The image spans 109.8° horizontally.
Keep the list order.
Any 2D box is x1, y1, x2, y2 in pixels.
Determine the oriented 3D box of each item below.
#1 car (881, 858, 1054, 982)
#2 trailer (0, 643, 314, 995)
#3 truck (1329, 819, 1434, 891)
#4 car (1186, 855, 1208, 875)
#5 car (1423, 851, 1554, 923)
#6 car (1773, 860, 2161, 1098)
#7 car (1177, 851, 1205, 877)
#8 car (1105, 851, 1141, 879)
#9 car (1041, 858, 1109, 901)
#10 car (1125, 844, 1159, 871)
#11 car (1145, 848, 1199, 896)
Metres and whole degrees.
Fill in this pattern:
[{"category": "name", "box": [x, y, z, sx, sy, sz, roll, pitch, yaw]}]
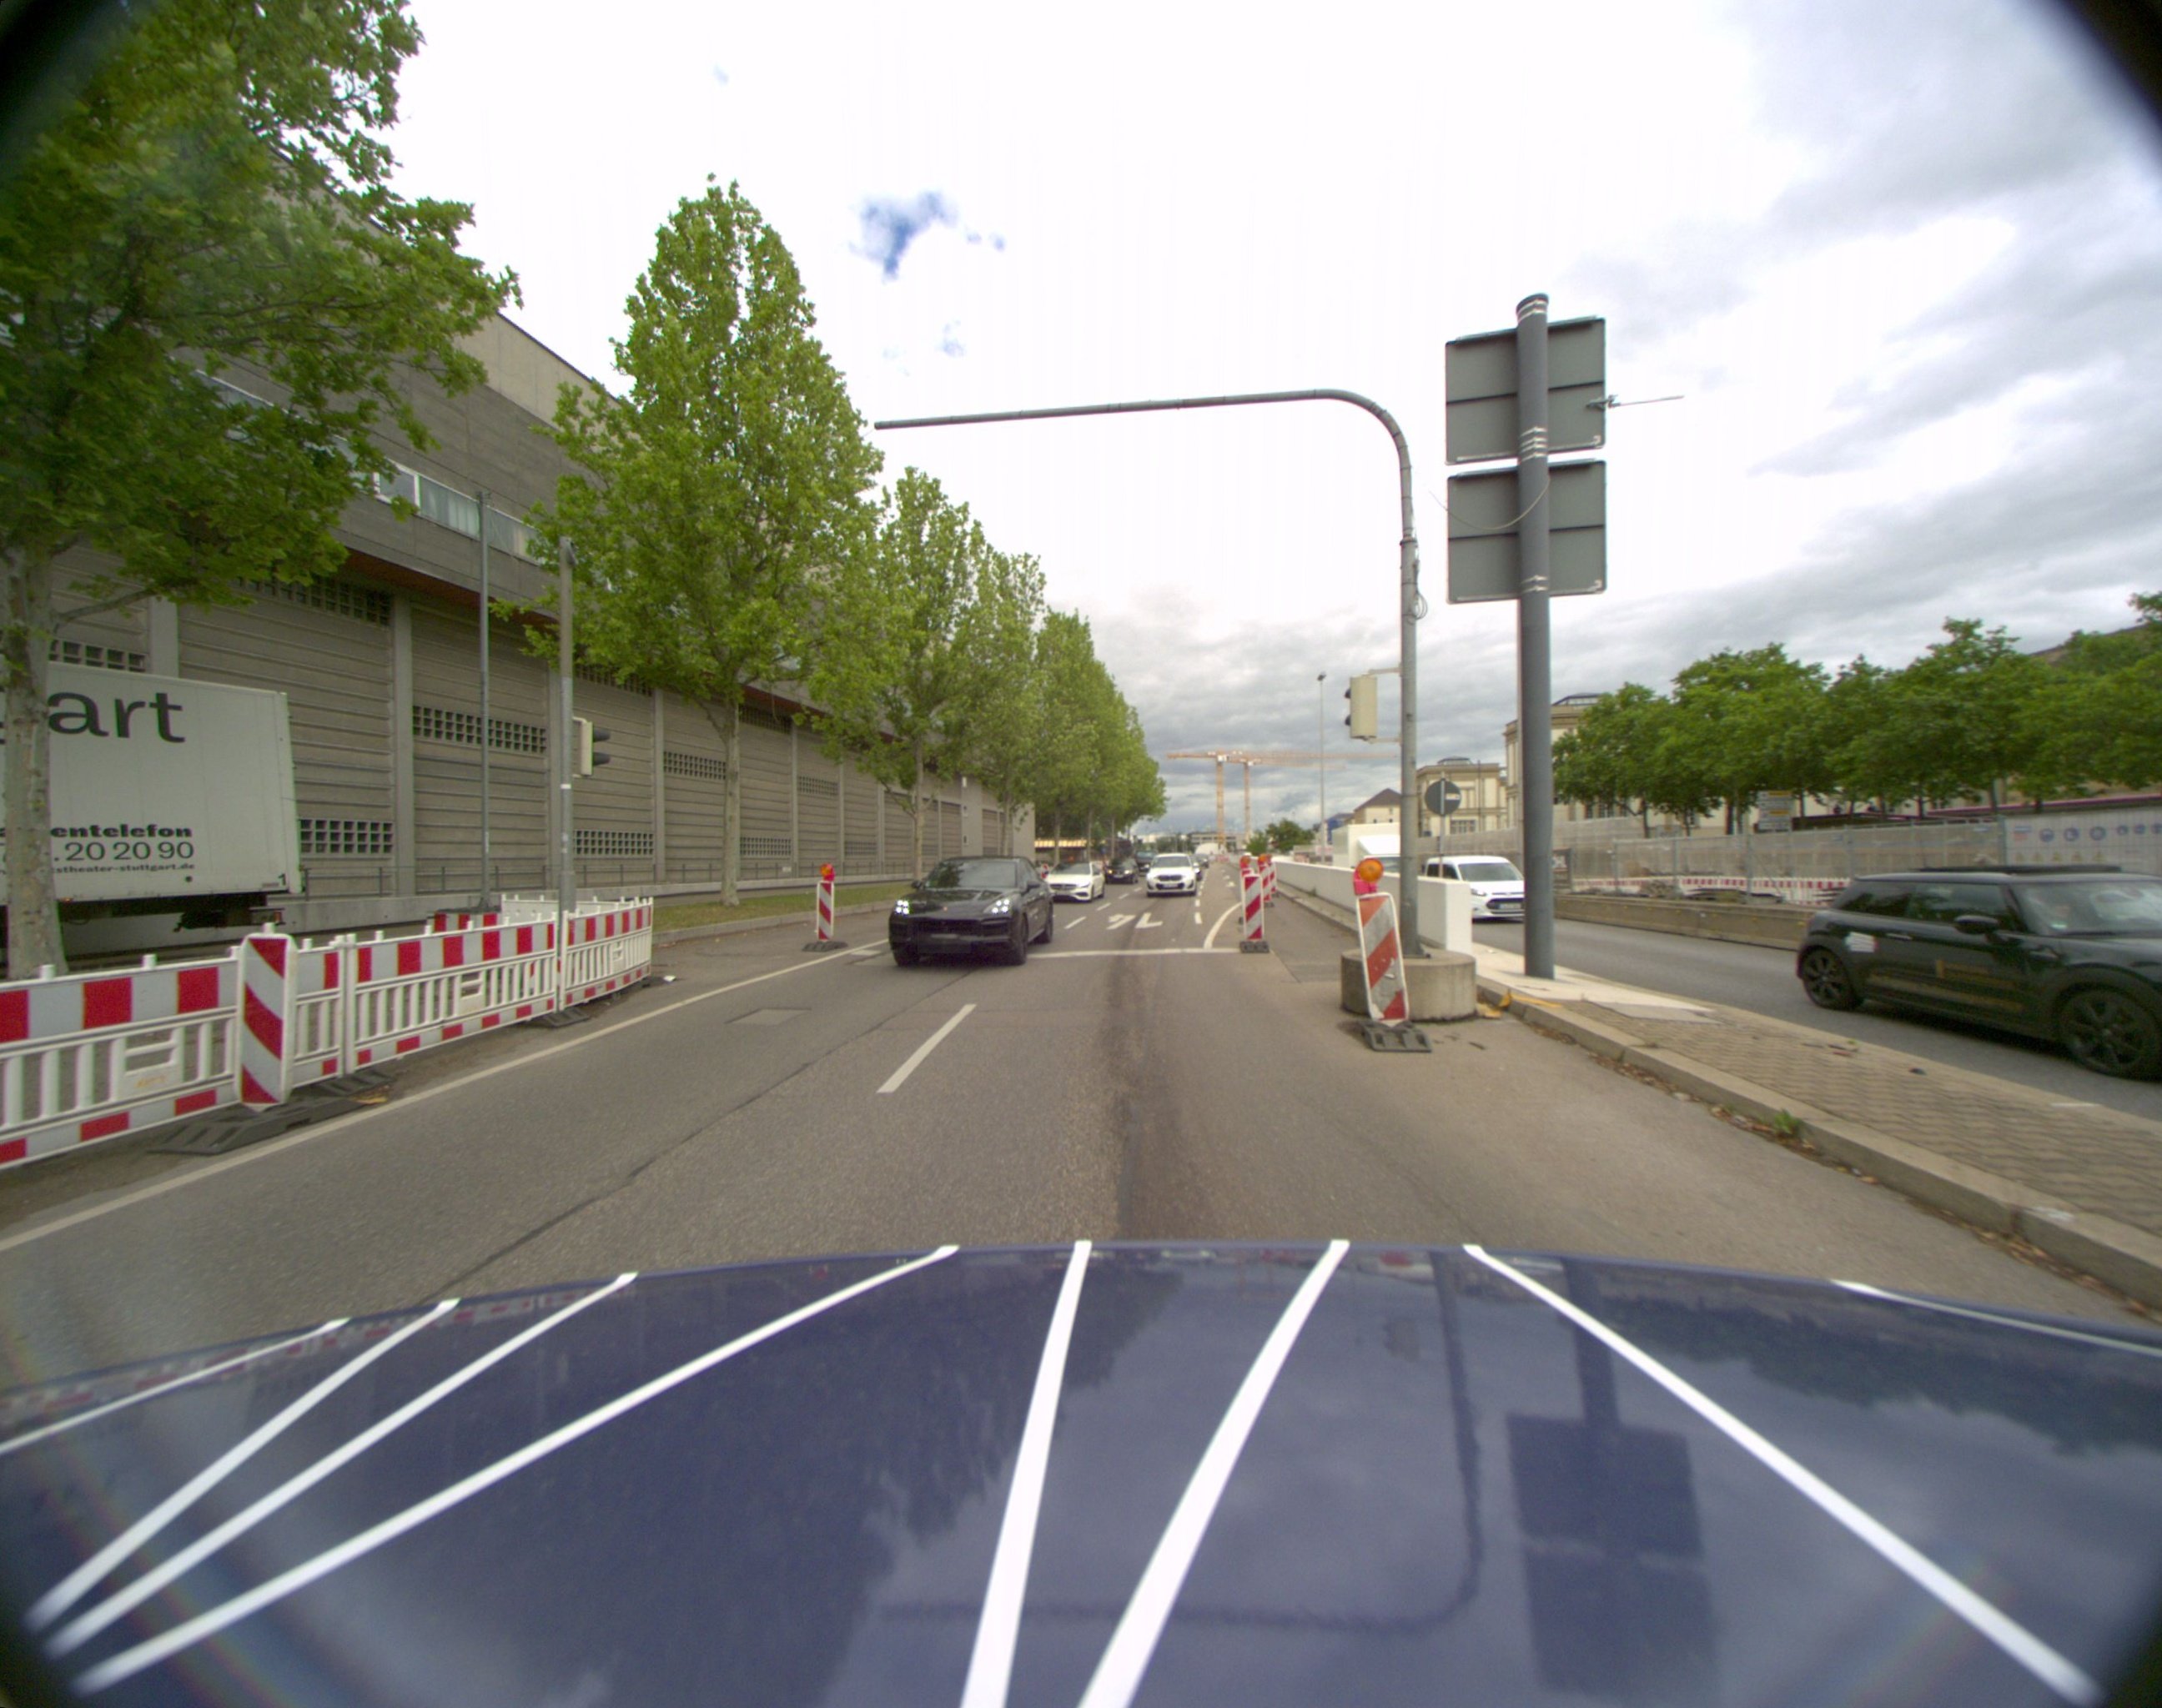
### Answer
[{"category": "car", "box": [-1.669, 0.926, 12.661, 1.907, 1.648, 4.202, 0, 1, 5]}, {"category": "trailer", "box": [-15.373, -0.231, 5.265, 3.152, 4.077, 13.988, -3, 0, 19]}, {"category": "truck", "box": [12.843, 0.018, 33.109, 2.975, 2.758, 7.261, -1, 0, 11]}, {"category": "car", "box": [9.009, 0.830, 58.873, 1.611, 1.464, 3.624, -1, 0, 9]}, {"category": "car", "box": [11.031, 0.817, 20.938, 1.841, 1.751, 4.483, -1, 0, 10]}, {"category": "car", "box": [8.042, 0.829, 6.195, 1.650, 1.430, 3.938, -2, 0, 9]}, {"category": "car", "box": [6.617, 0.569, 45.554, 1.611, 1.464, 3.624, -1, 0, 9]}, {"category": "car", "box": [2.432, 0.580, 43.277, 1.611, 1.464, 3.624, -1, 0, 9]}, {"category": "car", "box": [-0.132, 0.867, 27.603, 1.933, 1.368, 4.002, 0, 1, 7]}, {"category": "car", "box": [4.576, 0.263, 56.653, 1.950, 1.914, 4.403, -1, 0, 12]}, {"category": "car", "box": [3.621, 0.616, 29.545, 1.855, 1.618, 4.909, -2, 1, 9]}]
